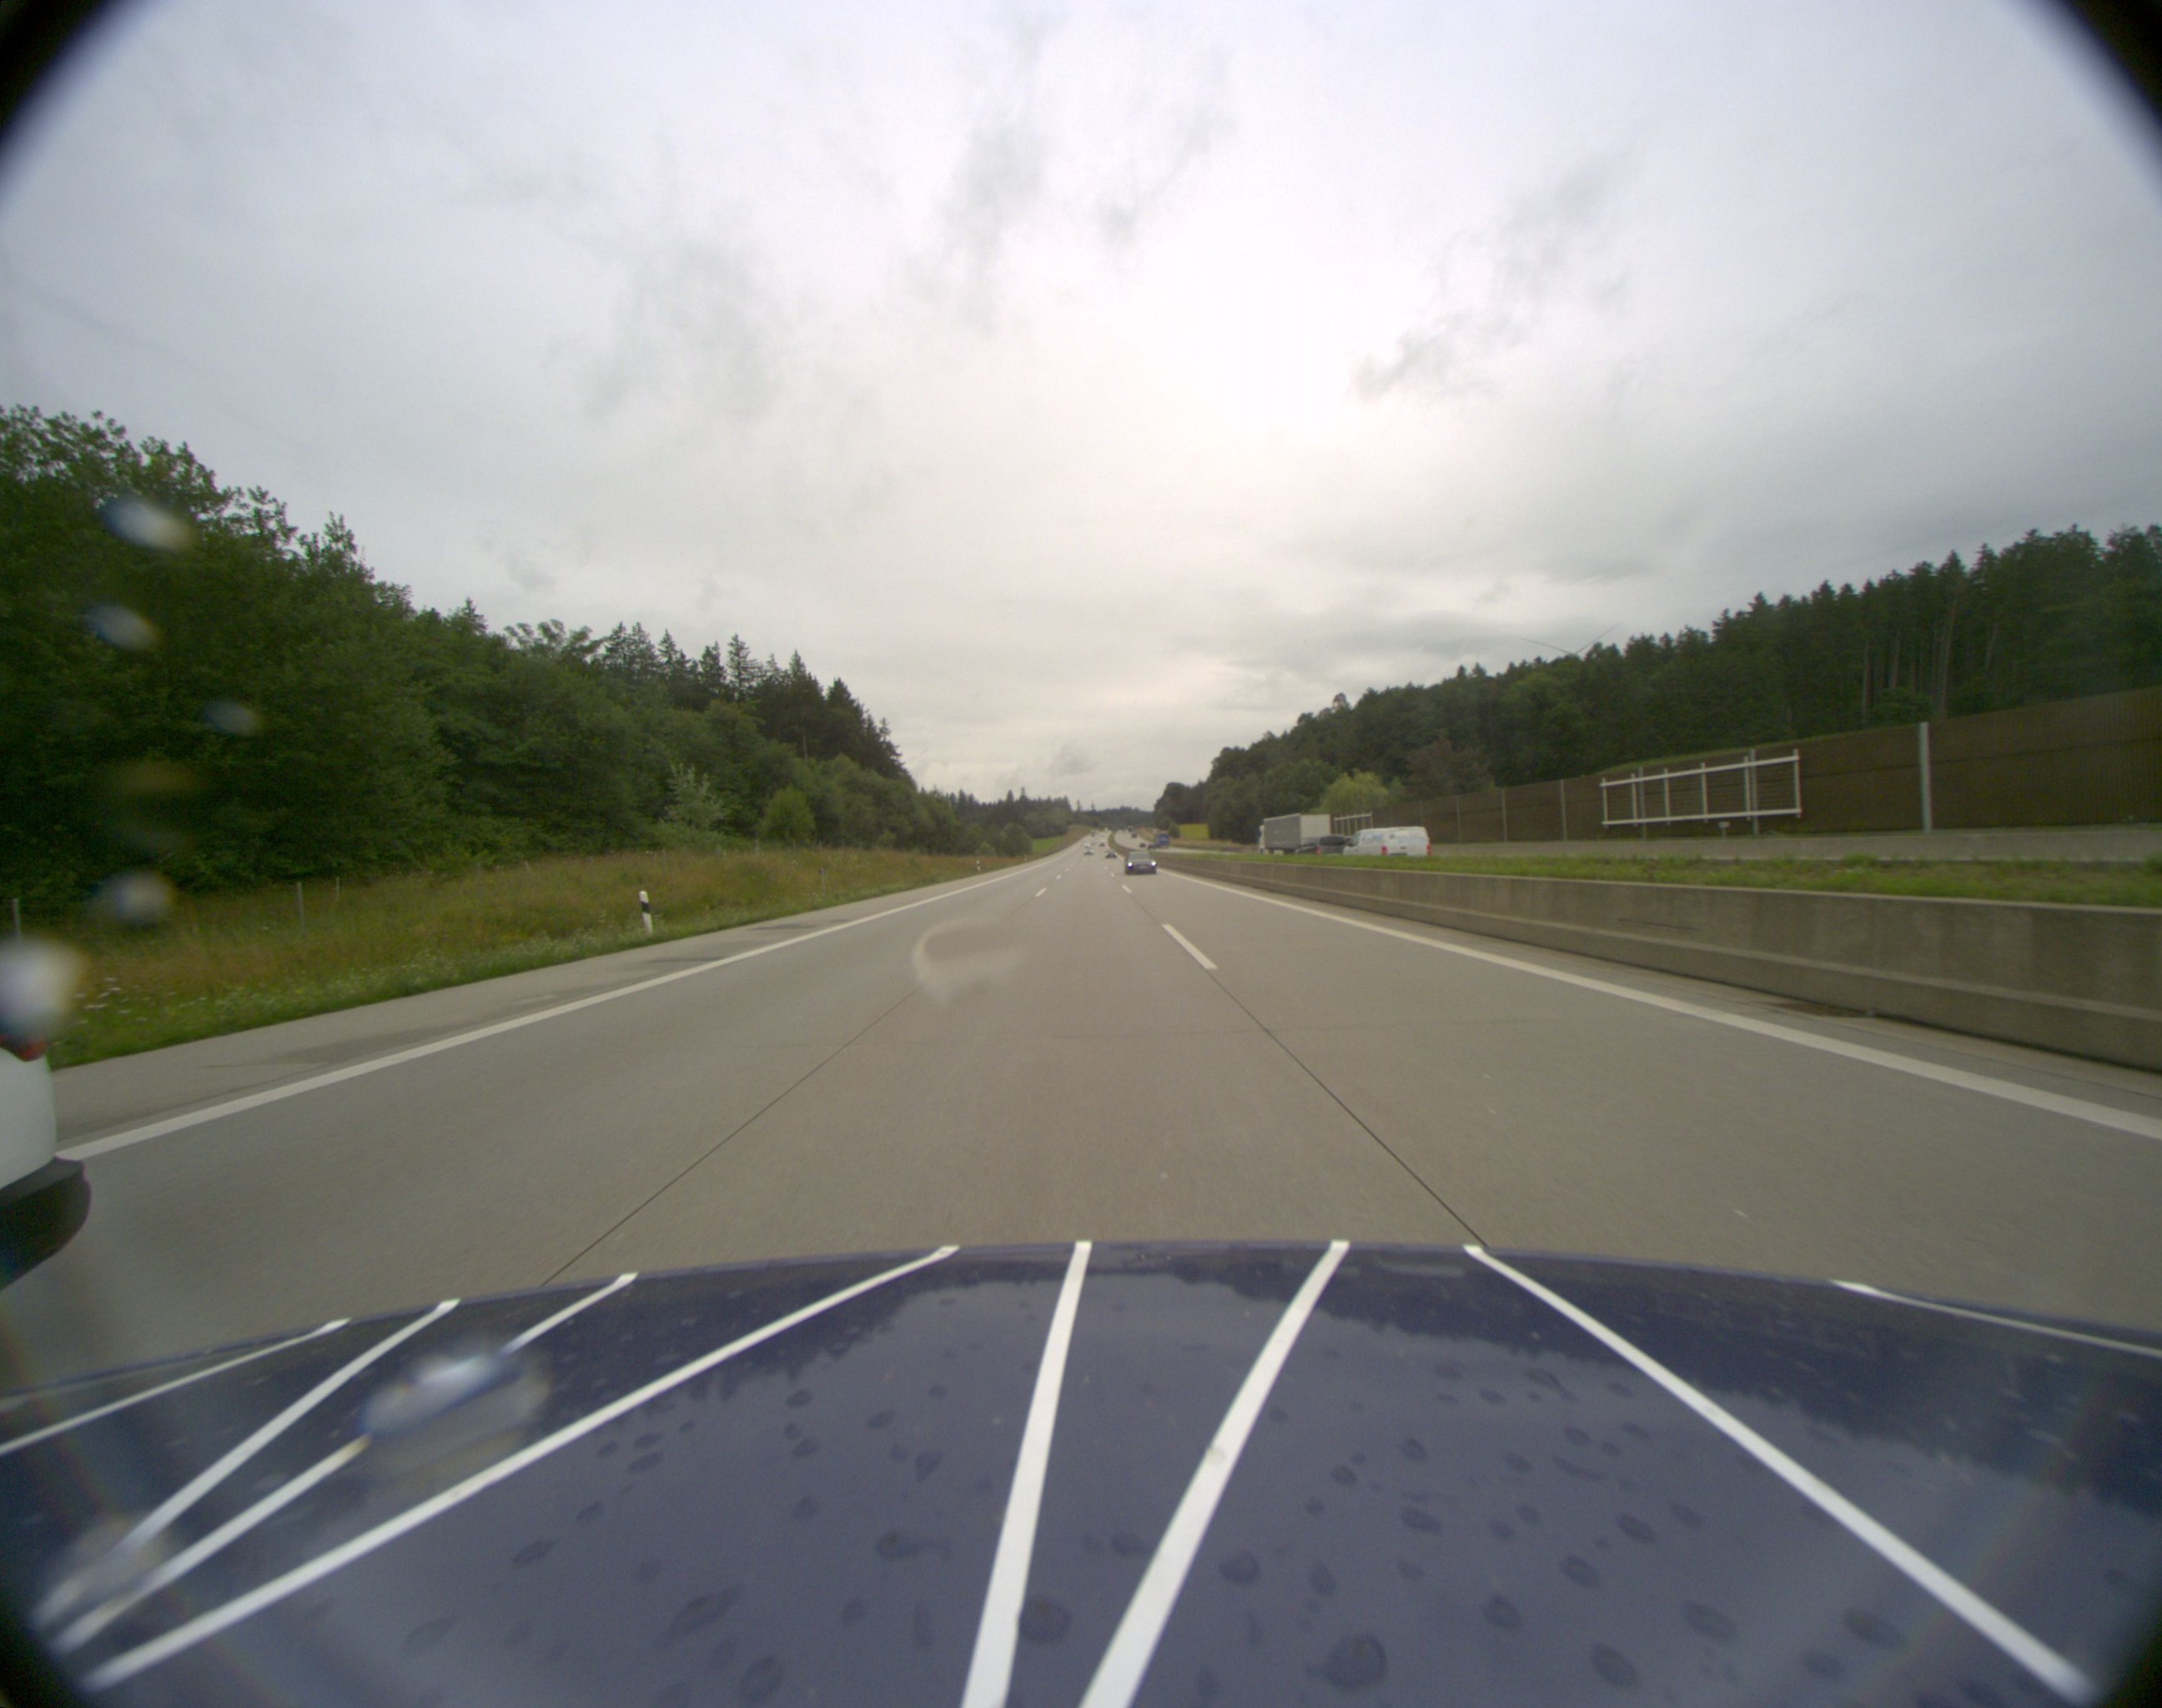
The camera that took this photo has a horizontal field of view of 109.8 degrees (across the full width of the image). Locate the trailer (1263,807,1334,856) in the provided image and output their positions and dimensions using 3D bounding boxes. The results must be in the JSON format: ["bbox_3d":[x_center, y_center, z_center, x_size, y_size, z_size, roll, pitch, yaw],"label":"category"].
[{"bbox_3d":[20.163,-1.991,71.566,2.703,4.072,14.003,-3,1,1],"label":"trailer"}]

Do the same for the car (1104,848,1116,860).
[{"bbox_3d":[4.585,0.002,121.004,1.773,1.783,4.000,-2,1,1],"label":"car"}]

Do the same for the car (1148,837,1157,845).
[{"bbox_3d":[18.144,-3.274,192.970,1.821,1.757,4.730,-3,2,0],"label":"car"}]

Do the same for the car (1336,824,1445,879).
[{"bbox_3d":[11.968,-0.100,29.888,1.998,1.875,5.512,-3,1,0],"label":"car"}]

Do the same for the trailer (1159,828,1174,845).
[{"bbox_3d":[23.516,-4.949,209.897,2.717,4.185,13.787,-3,2,1],"label":"trailer"}]

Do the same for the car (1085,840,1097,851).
[{"bbox_3d":[2.037,-1.842,155.732,2.213,2.002,4.832,-3,2,1],"label":"car"}]

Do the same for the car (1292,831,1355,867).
[{"bbox_3d":[14.149,-0.280,44.679,1.998,1.908,5.344,-3,0,1],"label":"car"}]

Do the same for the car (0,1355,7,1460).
[{"bbox_3d":[-4.042,0.961,0.175,1.830,1.646,3.984,-3,0,0],"label":"car"}]

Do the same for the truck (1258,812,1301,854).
[{"bbox_3d":[20.248,-2.118,77.968,2.689,4.060,6.215,-3,1,1],"label":"truck"}]

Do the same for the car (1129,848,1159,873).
[{"bbox_3d":[4.059,0.387,49.470,1.766,1.455,4.000,-3,1,3],"label":"car"}]

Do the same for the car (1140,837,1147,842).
[{"bbox_3d":[19.025,-4.422,230.029,1.641,1.492,4.516,-3,2,0],"label":"car"}]

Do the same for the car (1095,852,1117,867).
[{"bbox_3d":[2.178,0.476,65.598,1.792,1.193,3.484,-3,0,3],"label":"car"}]
